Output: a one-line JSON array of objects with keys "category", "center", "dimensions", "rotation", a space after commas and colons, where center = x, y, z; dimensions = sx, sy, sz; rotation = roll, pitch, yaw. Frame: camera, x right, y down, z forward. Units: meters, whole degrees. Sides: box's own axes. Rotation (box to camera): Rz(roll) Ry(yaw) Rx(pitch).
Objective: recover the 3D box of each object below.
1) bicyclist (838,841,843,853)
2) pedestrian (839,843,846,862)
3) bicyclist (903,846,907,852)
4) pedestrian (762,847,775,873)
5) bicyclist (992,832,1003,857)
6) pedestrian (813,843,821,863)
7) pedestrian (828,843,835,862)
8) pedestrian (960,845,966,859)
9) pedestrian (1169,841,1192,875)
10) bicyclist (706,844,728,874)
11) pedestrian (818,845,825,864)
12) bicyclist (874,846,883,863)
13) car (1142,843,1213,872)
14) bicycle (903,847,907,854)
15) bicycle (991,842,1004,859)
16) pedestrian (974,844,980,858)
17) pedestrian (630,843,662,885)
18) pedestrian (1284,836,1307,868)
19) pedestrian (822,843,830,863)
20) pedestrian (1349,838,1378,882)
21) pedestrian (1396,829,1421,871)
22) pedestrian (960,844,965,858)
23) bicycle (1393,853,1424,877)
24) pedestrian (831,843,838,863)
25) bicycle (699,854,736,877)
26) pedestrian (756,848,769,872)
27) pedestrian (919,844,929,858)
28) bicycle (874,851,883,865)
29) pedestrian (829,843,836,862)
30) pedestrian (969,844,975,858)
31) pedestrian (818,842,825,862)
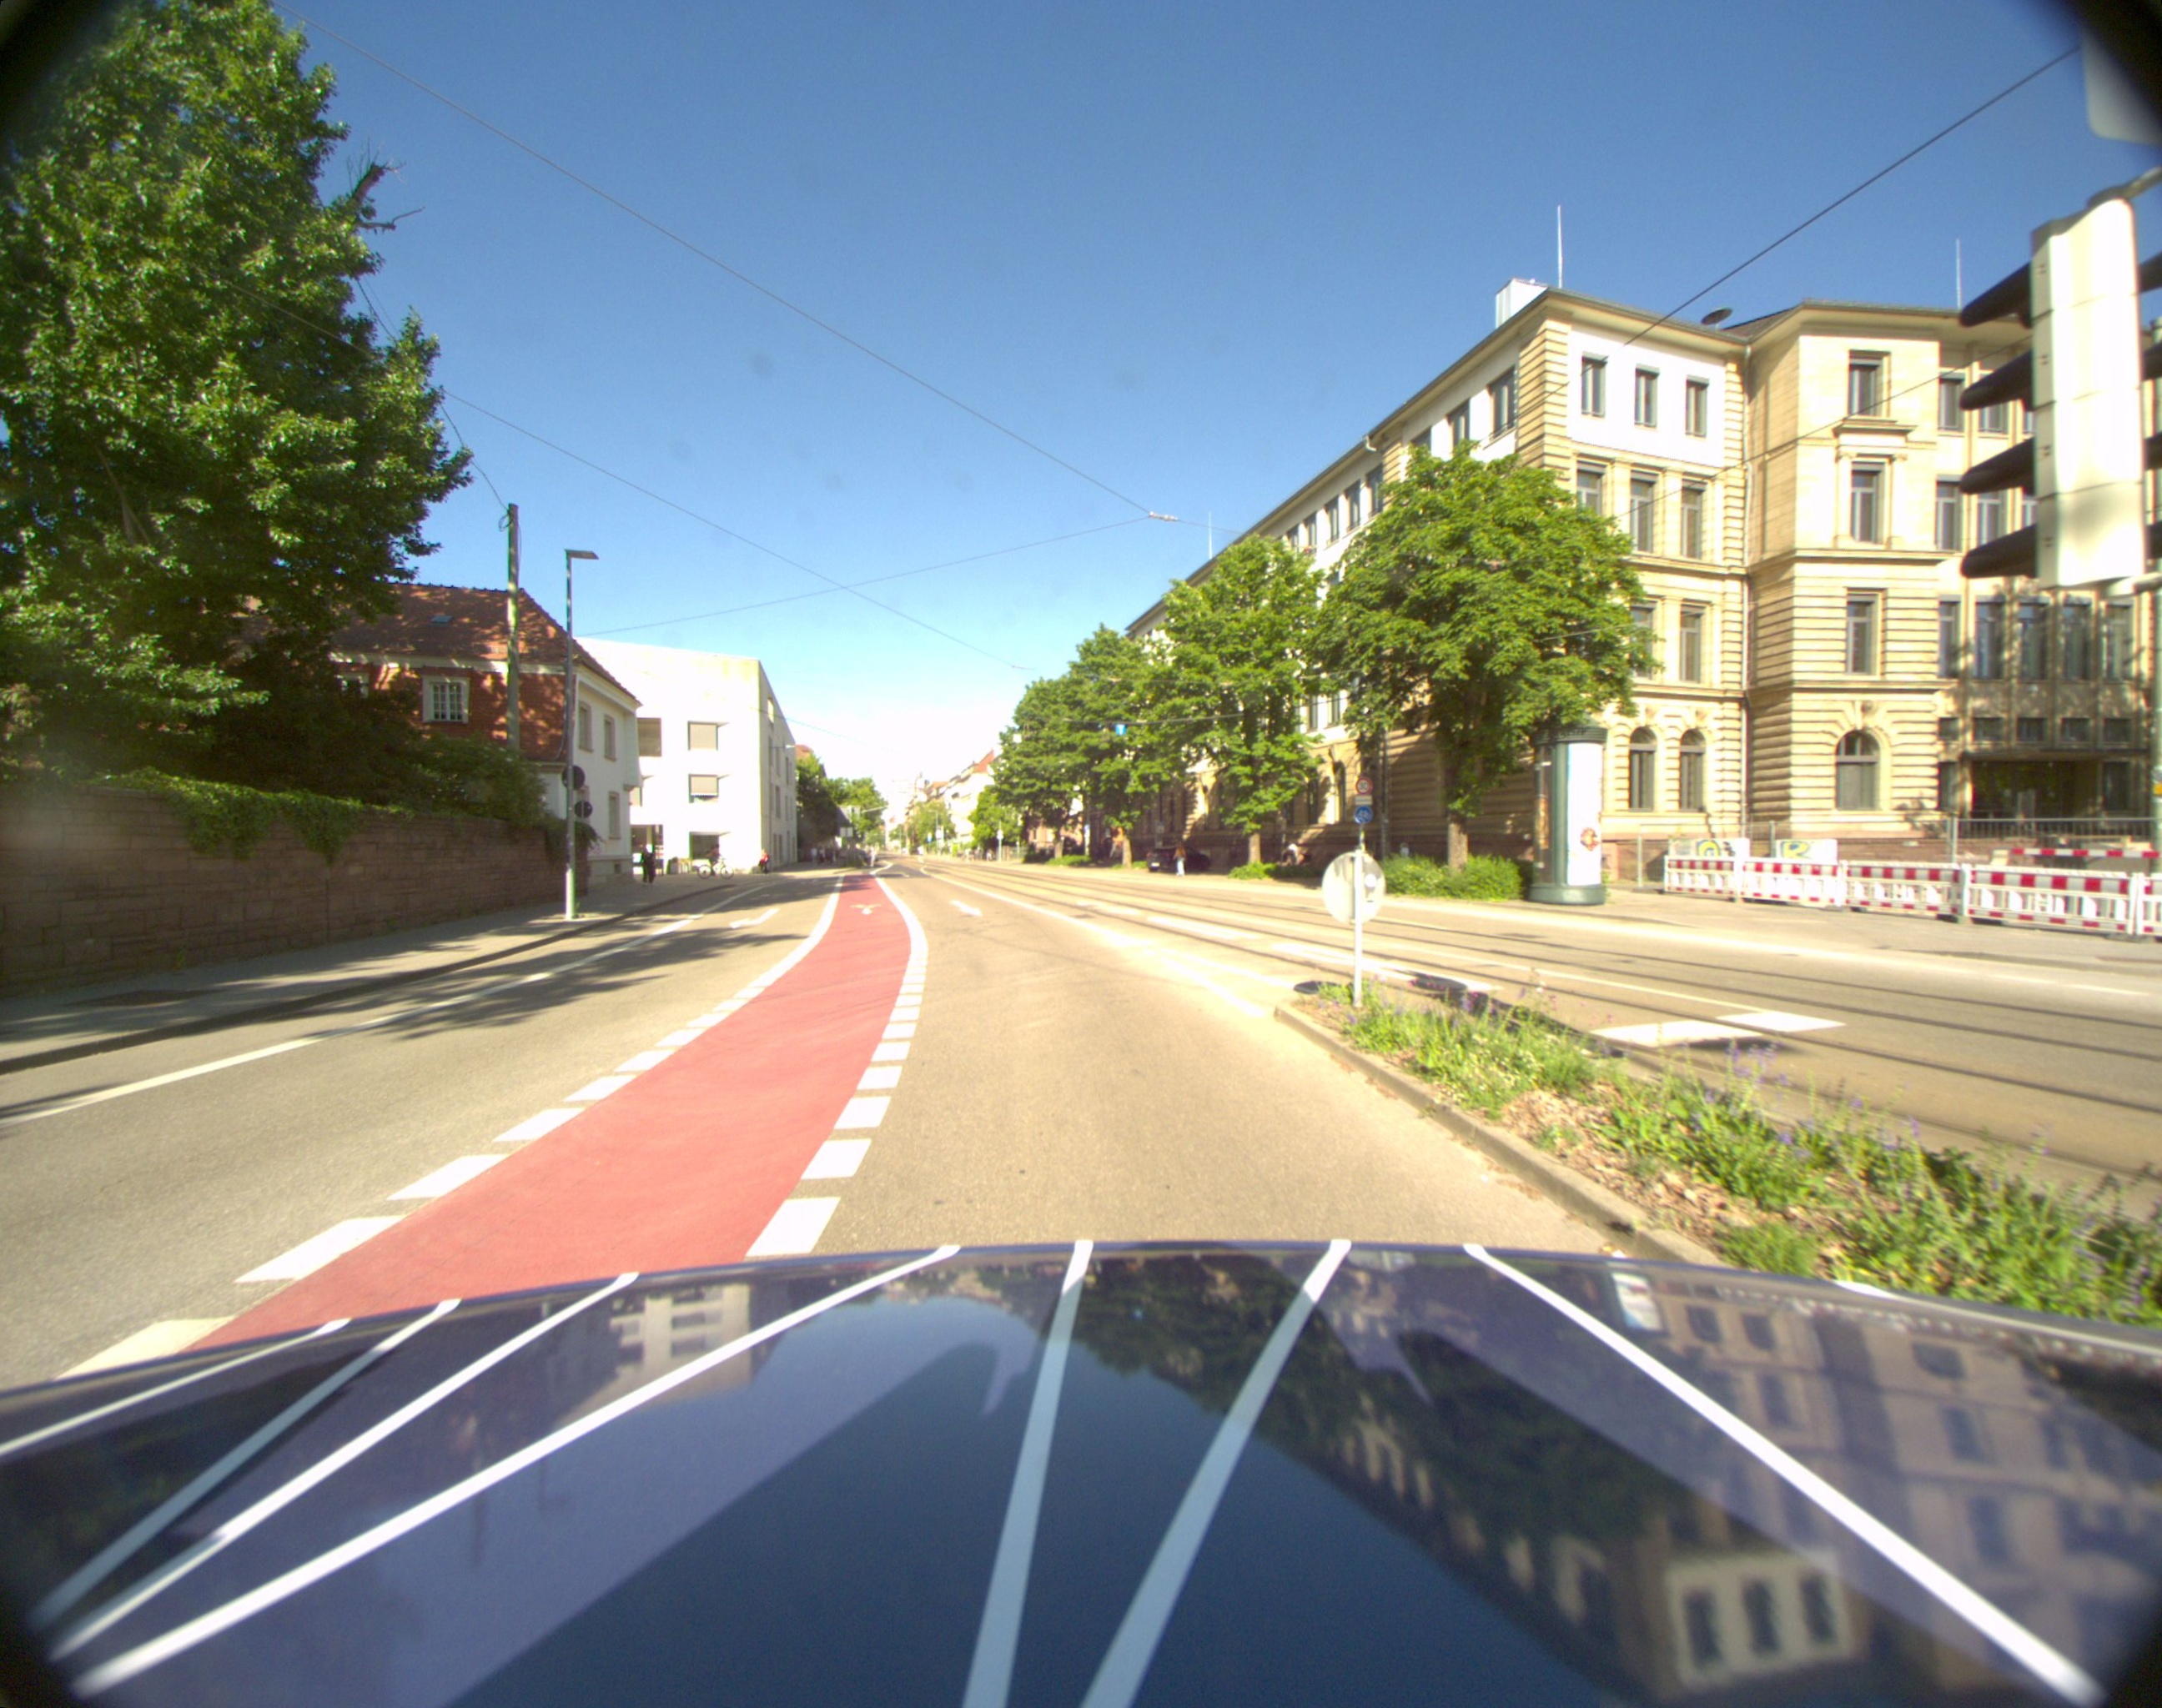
[{"category": "bicyclist", "center": [-44.730, -1.356, 141.375], "dimensions": [0.813, 2.194, 0.983], "rotation": [-2, 3, -14]}, {"category": "pedestrian", "center": [-21.917, -0.104, 69.770], "dimensions": [0.588, 1.717, 0.519], "rotation": [-1, 2, -17]}, {"category": "bicyclist", "center": [-46.011, -1.290, 198.436], "dimensions": [1.004, 1.712, 0.983], "rotation": [-2, 3, -16]}, {"category": "pedestrian", "center": [-19.523, 0.371, 47.513], "dimensions": [0.533, 1.557, 0.521], "rotation": [1, 2, 41]}, {"category": "bicyclist", "center": [-10.000, -1.148, 90.865], "dimensions": [1.003, 2.959, 1.473], "rotation": [-2, 3, 1]}, {"category": "pedestrian", "center": [-24.021, -0.094, 69.178], "dimensions": [0.588, 1.796, 0.544], "rotation": [-1, 2, -17]}, {"category": "pedestrian", "center": [-23.754, -0.144, 72.282], "dimensions": [0.588, 1.796, 0.544], "rotation": [-1, 2, -17]}, {"category": "pedestrian", "center": [-15.294, -0.283, 98.608], "dimensions": [0.729, 1.845, 0.653], "rotation": [-1, 1, -13]}, {"category": "pedestrian", "center": [5.129, 0.220, 39.075], "dimensions": [0.772, 1.658, 1.032], "rotation": [1, -3, -20]}, {"category": "bicyclist", "center": [-19.279, 0.256, 40.206], "dimensions": [0.881, 1.573, 0.743], "rotation": [3, 0, -34]}, {"category": "pedestrian", "center": [-24.633, 0.031, 72.014], "dimensions": [0.588, 1.796, 0.544], "rotation": [-1, 2, -17]}, {"category": "bicyclist", "center": [-17.522, 0.009, 65.726], "dimensions": [0.666, 1.453, 0.621], "rotation": [-2, 3, -12]}, {"category": "car", "center": [5.666, 0.155, 44.164], "dimensions": [4.118, 1.565, 1.915], "rotation": [-1, 1, -43]}, {"category": "bicycle", "center": [-46.000, -0.993, 198.456], "dimensions": [1.004, 1.672, 2.979], "rotation": [-2, 2, -16]}, {"category": "bicycle", "center": [-9.980, -0.477, 90.958], "dimensions": [1.003, 1.877, 3.892], "rotation": [-2, 2, 1]}, {"category": "pedestrian", "center": [-13.208, -0.409, 96.619], "dimensions": [0.579, 1.845, 0.683], "rotation": [-1, 1, -15]}, {"category": "pedestrian", "center": [-18.084, 0.408, 31.586], "dimensions": [0.941, 1.668, 0.952], "rotation": [2, 1, -17]}, {"category": "pedestrian", "center": [10.902, -0.091, 38.567], "dimensions": [0.673, 1.558, 0.857], "rotation": [-5, 3, -20]}, {"category": "pedestrian", "center": [-23.193, -0.117, 69.147], "dimensions": [0.588, 1.796, 0.544], "rotation": [-1, 2, -17]}, {"category": "pedestrian", "center": [11.017, 0.237, 29.630], "dimensions": [0.730, 1.660, 0.845], "rotation": [0, 4, -6]}, {"category": "pedestrian", "center": [12.253, -0.145, 28.429], "dimensions": [0.579, 1.553, 0.653], "rotation": [-1, 1, -16]}, {"category": "pedestrian", "center": [-15.333, -0.417, 98.471], "dimensions": [0.579, 1.845, 0.683], "rotation": [-1, 1, -15]}, {"category": "bicycle", "center": [13.345, 0.446, 30.976], "dimensions": [0.398, 0.898, 1.359], "rotation": [-2, 2, -14]}, {"category": "pedestrian", "center": [-22.508, -0.129, 69.328], "dimensions": [0.588, 1.796, 0.519], "rotation": [-1, 2, -17]}, {"category": "bicycle", "center": [-19.245, 0.633, 40.243], "dimensions": [1.602, 1.145, 0.743], "rotation": [3, 0, -34]}, {"category": "pedestrian", "center": [-20.059, 0.373, 47.882], "dimensions": [0.533, 1.557, 0.521], "rotation": [1, 2, 41]}, {"category": "pedestrian", "center": [-18.746, -0.360, 90.884], "dimensions": [0.933, 1.728, 0.677], "rotation": [-1, 2, -35]}, {"category": "bicycle", "center": [-17.514, 0.340, 65.760], "dimensions": [0.666, 1.146, 1.670], "rotation": [-2, 2, -12]}, {"category": "pedestrian", "center": [-23.221, -0.136, 71.048], "dimensions": [0.588, 1.796, 0.582], "rotation": [-1, 1, -17]}, {"category": "pedestrian", "center": [-13.841, -0.383, 96.401], "dimensions": [0.579, 1.845, 0.683], "rotation": [-1, 1, -15]}, {"category": "pedestrian", "center": [-24.131, -0.198, 70.674], "dimensions": [0.588, 1.796, 0.582], "rotation": [-1, 1, -17]}]
